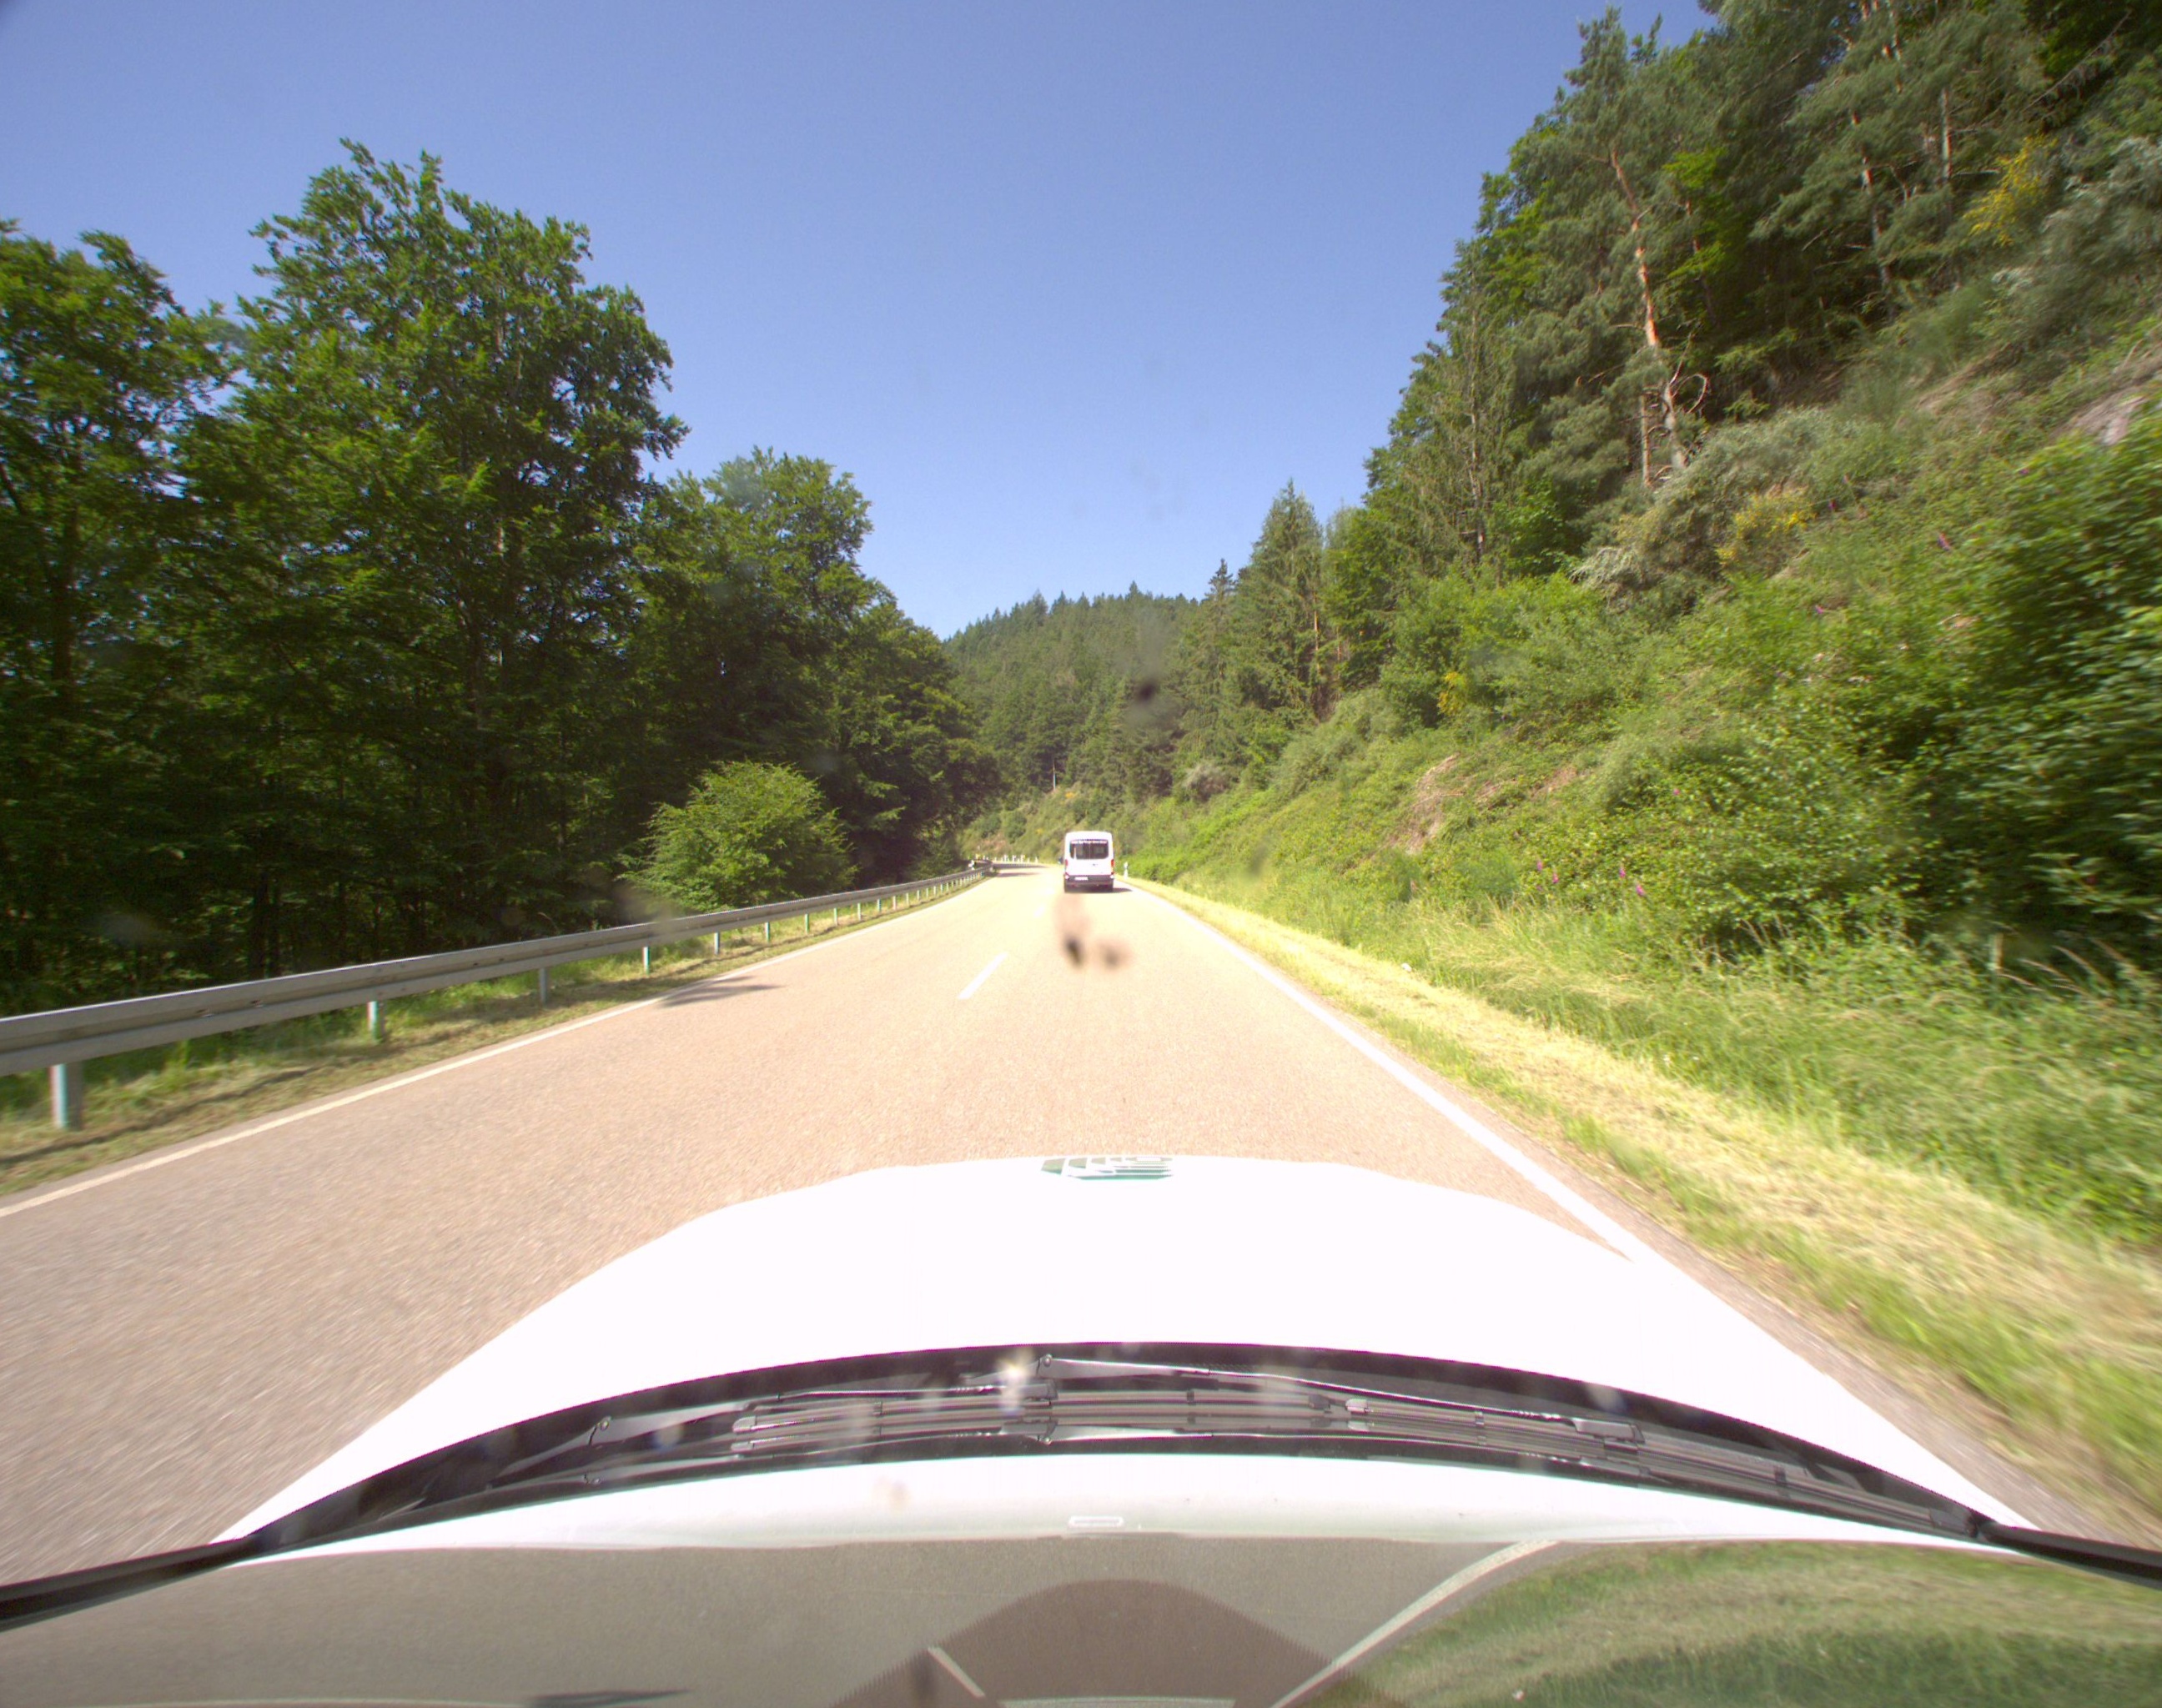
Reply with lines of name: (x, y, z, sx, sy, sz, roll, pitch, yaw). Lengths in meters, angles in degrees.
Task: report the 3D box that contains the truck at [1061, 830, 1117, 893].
truck: (0.237, 0.292, 34.468, 2.078, 2.459, 4.870, -1, 0, -2)
